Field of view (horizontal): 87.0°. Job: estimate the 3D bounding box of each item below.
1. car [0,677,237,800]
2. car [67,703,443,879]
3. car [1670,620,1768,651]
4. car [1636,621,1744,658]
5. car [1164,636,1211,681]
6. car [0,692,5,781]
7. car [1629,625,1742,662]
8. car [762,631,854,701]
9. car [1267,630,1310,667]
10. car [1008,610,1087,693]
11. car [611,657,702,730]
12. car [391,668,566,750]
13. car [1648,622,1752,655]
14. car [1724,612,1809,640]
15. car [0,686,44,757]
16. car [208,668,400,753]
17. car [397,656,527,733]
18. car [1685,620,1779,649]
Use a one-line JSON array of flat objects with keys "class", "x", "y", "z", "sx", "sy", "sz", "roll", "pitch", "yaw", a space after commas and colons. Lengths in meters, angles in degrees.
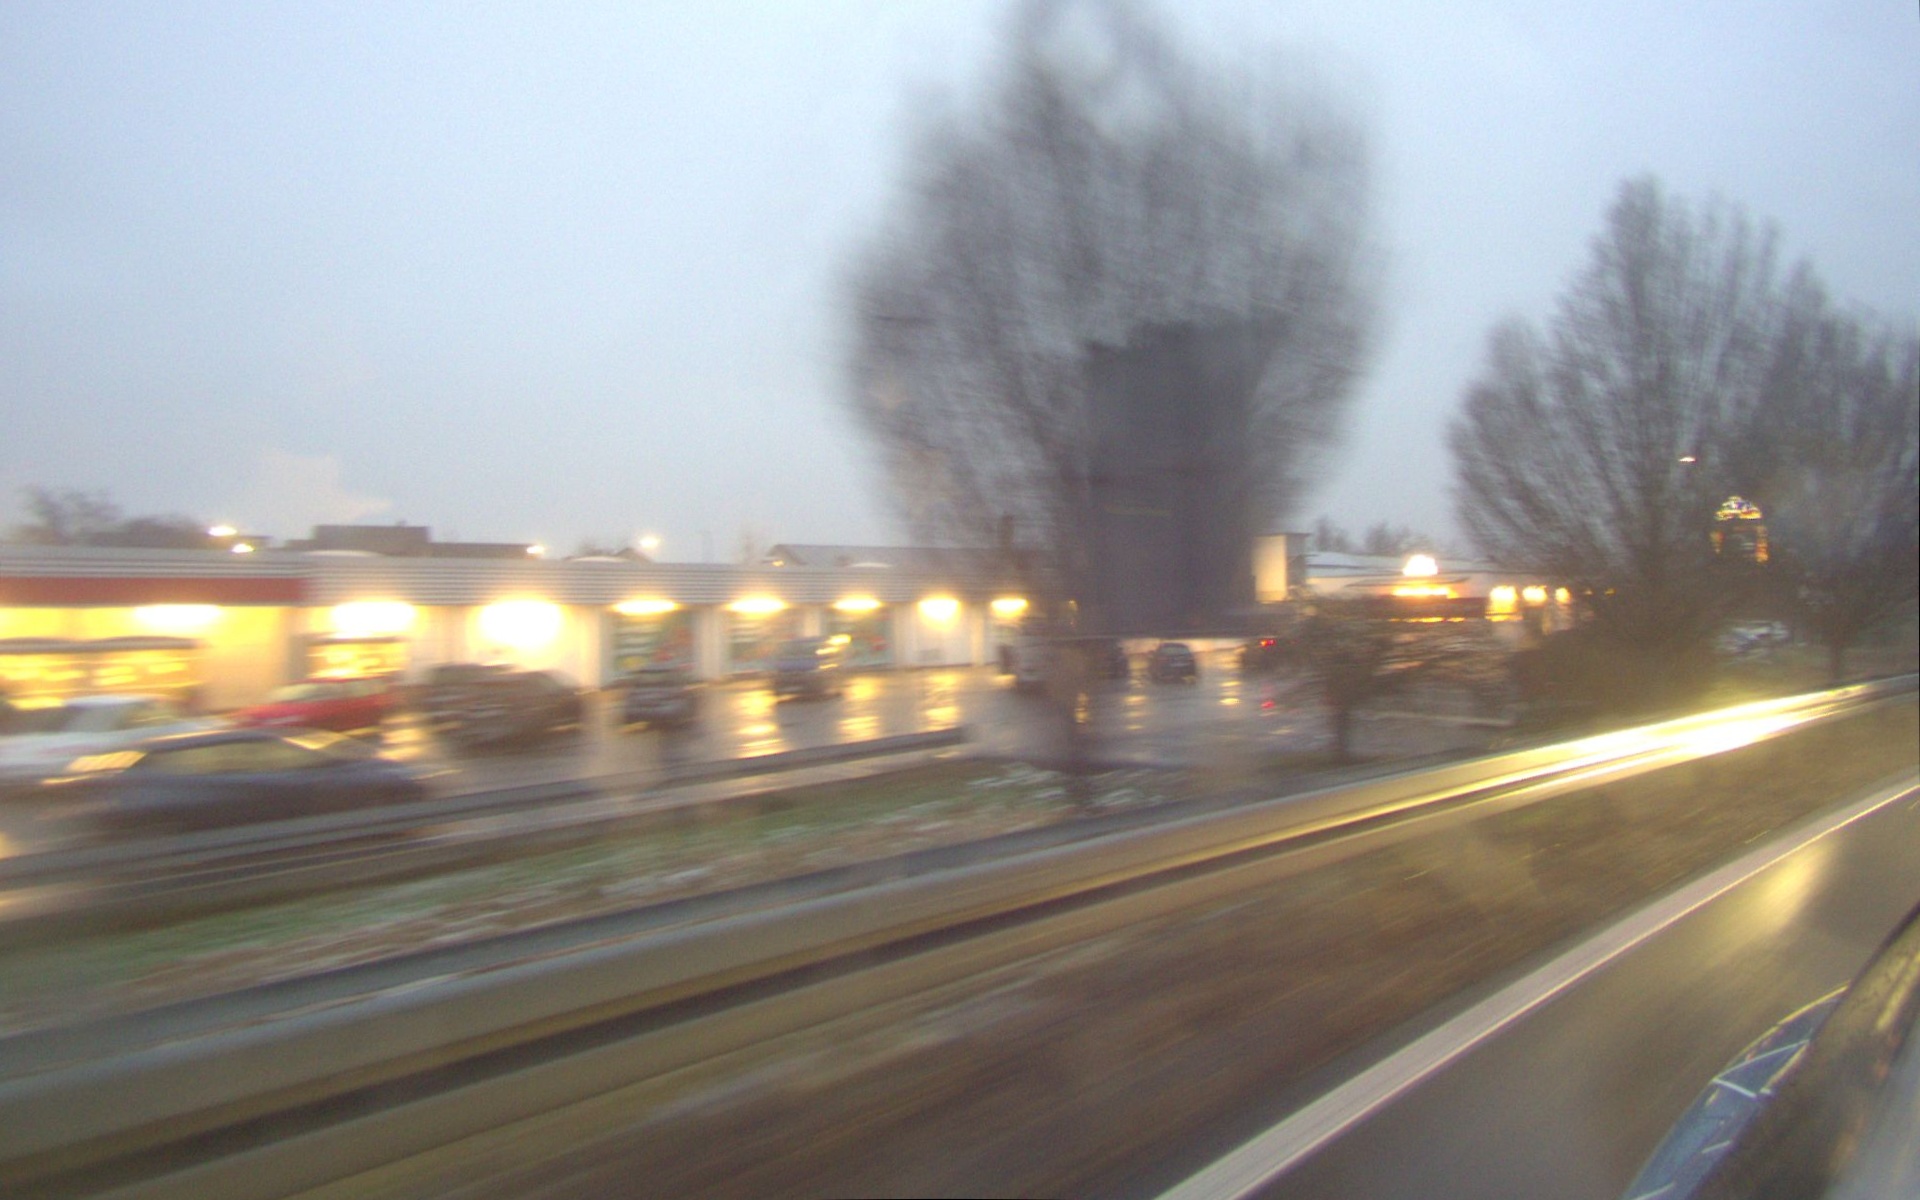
[{"class": "car", "x": -15.298, "y": 2.326, "z": 17.965, "sx": 1.791, "sy": 1.660, "sz": 4.469, "roll": 0, "pitch": -1, "yaw": -1}, {"class": "car", "x": -8.834, "y": 2.253, "z": 12.842, "sx": 3.747, "sy": 1.447, "sz": 1.770, "roll": -1, "pitch": 1, "yaw": -42}, {"class": "car", "x": 40.510, "y": 1.875, "z": 54.049, "sx": 4.001, "sy": 1.430, "sz": 1.687, "roll": 1, "pitch": 1, "yaw": 44}, {"class": "car", "x": 34.734, "y": 1.842, "z": 48.210, "sx": 4.000, "sy": 1.510, "sz": 1.688, "roll": 1, "pitch": 1, "yaw": 44}, {"class": "car", "x": 8.732, "y": 2.199, "z": 38.728, "sx": 1.689, "sy": 1.430, "sz": 3.997, "roll": 0, "pitch": 1, "yaw": 14}, {"class": "car", "x": -17.865, "y": 2.401, "z": 15.647, "sx": 1.773, "sy": 1.554, "sz": 4.538, "roll": 0, "pitch": 0, "yaw": 4}, {"class": "car", "x": 32.819, "y": 1.939, "z": 45.844, "sx": 4.000, "sy": 1.430, "sz": 1.688, "roll": 1, "pitch": 1, "yaw": 44}, {"class": "car", "x": -4.856, "y": 2.076, "z": 33.077, "sx": 1.854, "sy": 1.983, "sz": 4.952, "roll": -1, "pitch": -1, "yaw": 5}, {"class": "car", "x": 14.229, "y": 2.058, "z": 43.931, "sx": 1.507, "sy": 1.355, "sz": 3.573, "roll": 0, "pitch": 1, "yaw": 14}, {"class": "car", "x": 3.094, "y": 1.663, "z": 34.711, "sx": 2.245, "sy": 2.470, "sz": 5.224, "roll": 0, "pitch": 1, "yaw": 11}, {"class": "car", "x": -7.642, "y": 2.305, "z": 25.741, "sx": 1.685, "sy": 1.536, "sz": 3.261, "roll": -1, "pitch": -1, "yaw": -7}, {"class": "car", "x": -10.449, "y": 2.345, "z": 22.114, "sx": 3.191, "sy": 1.555, "sz": 1.394, "roll": -1, "pitch": -1, "yaw": -8}, {"class": "car", "x": 36.513, "y": 1.864, "z": 50.011, "sx": 4.000, "sy": 1.450, "sz": 1.688, "roll": 1, "pitch": 1, "yaw": 44}, {"class": "car", "x": 50.433, "y": 1.600, "z": 63.316, "sx": 4.001, "sy": 1.617, "sz": 1.778, "roll": 1, "pitch": 1, "yaw": 44}, {"class": "car", "x": -20.348, "y": 2.517, "z": 19.693, "sx": 1.571, "sy": 1.364, "sz": 3.626, "roll": 0, "pitch": 0, "yaw": 6}, {"class": "car", "x": -15.104, "y": 2.484, "z": 23.585, "sx": 1.696, "sy": 1.520, "sz": 4.022, "roll": 0, "pitch": 0, "yaw": 4}, {"class": "car", "x": -12.915, "y": 2.395, "z": 26.513, "sx": 1.765, "sy": 1.615, "sz": 3.984, "roll": 0, "pitch": 0, "yaw": -5}, {"class": "car", "x": 42.893, "y": 1.909, "z": 56.295, "sx": 4.001, "sy": 1.430, "sz": 1.687, "roll": 1, "pitch": 1, "yaw": 44}]
